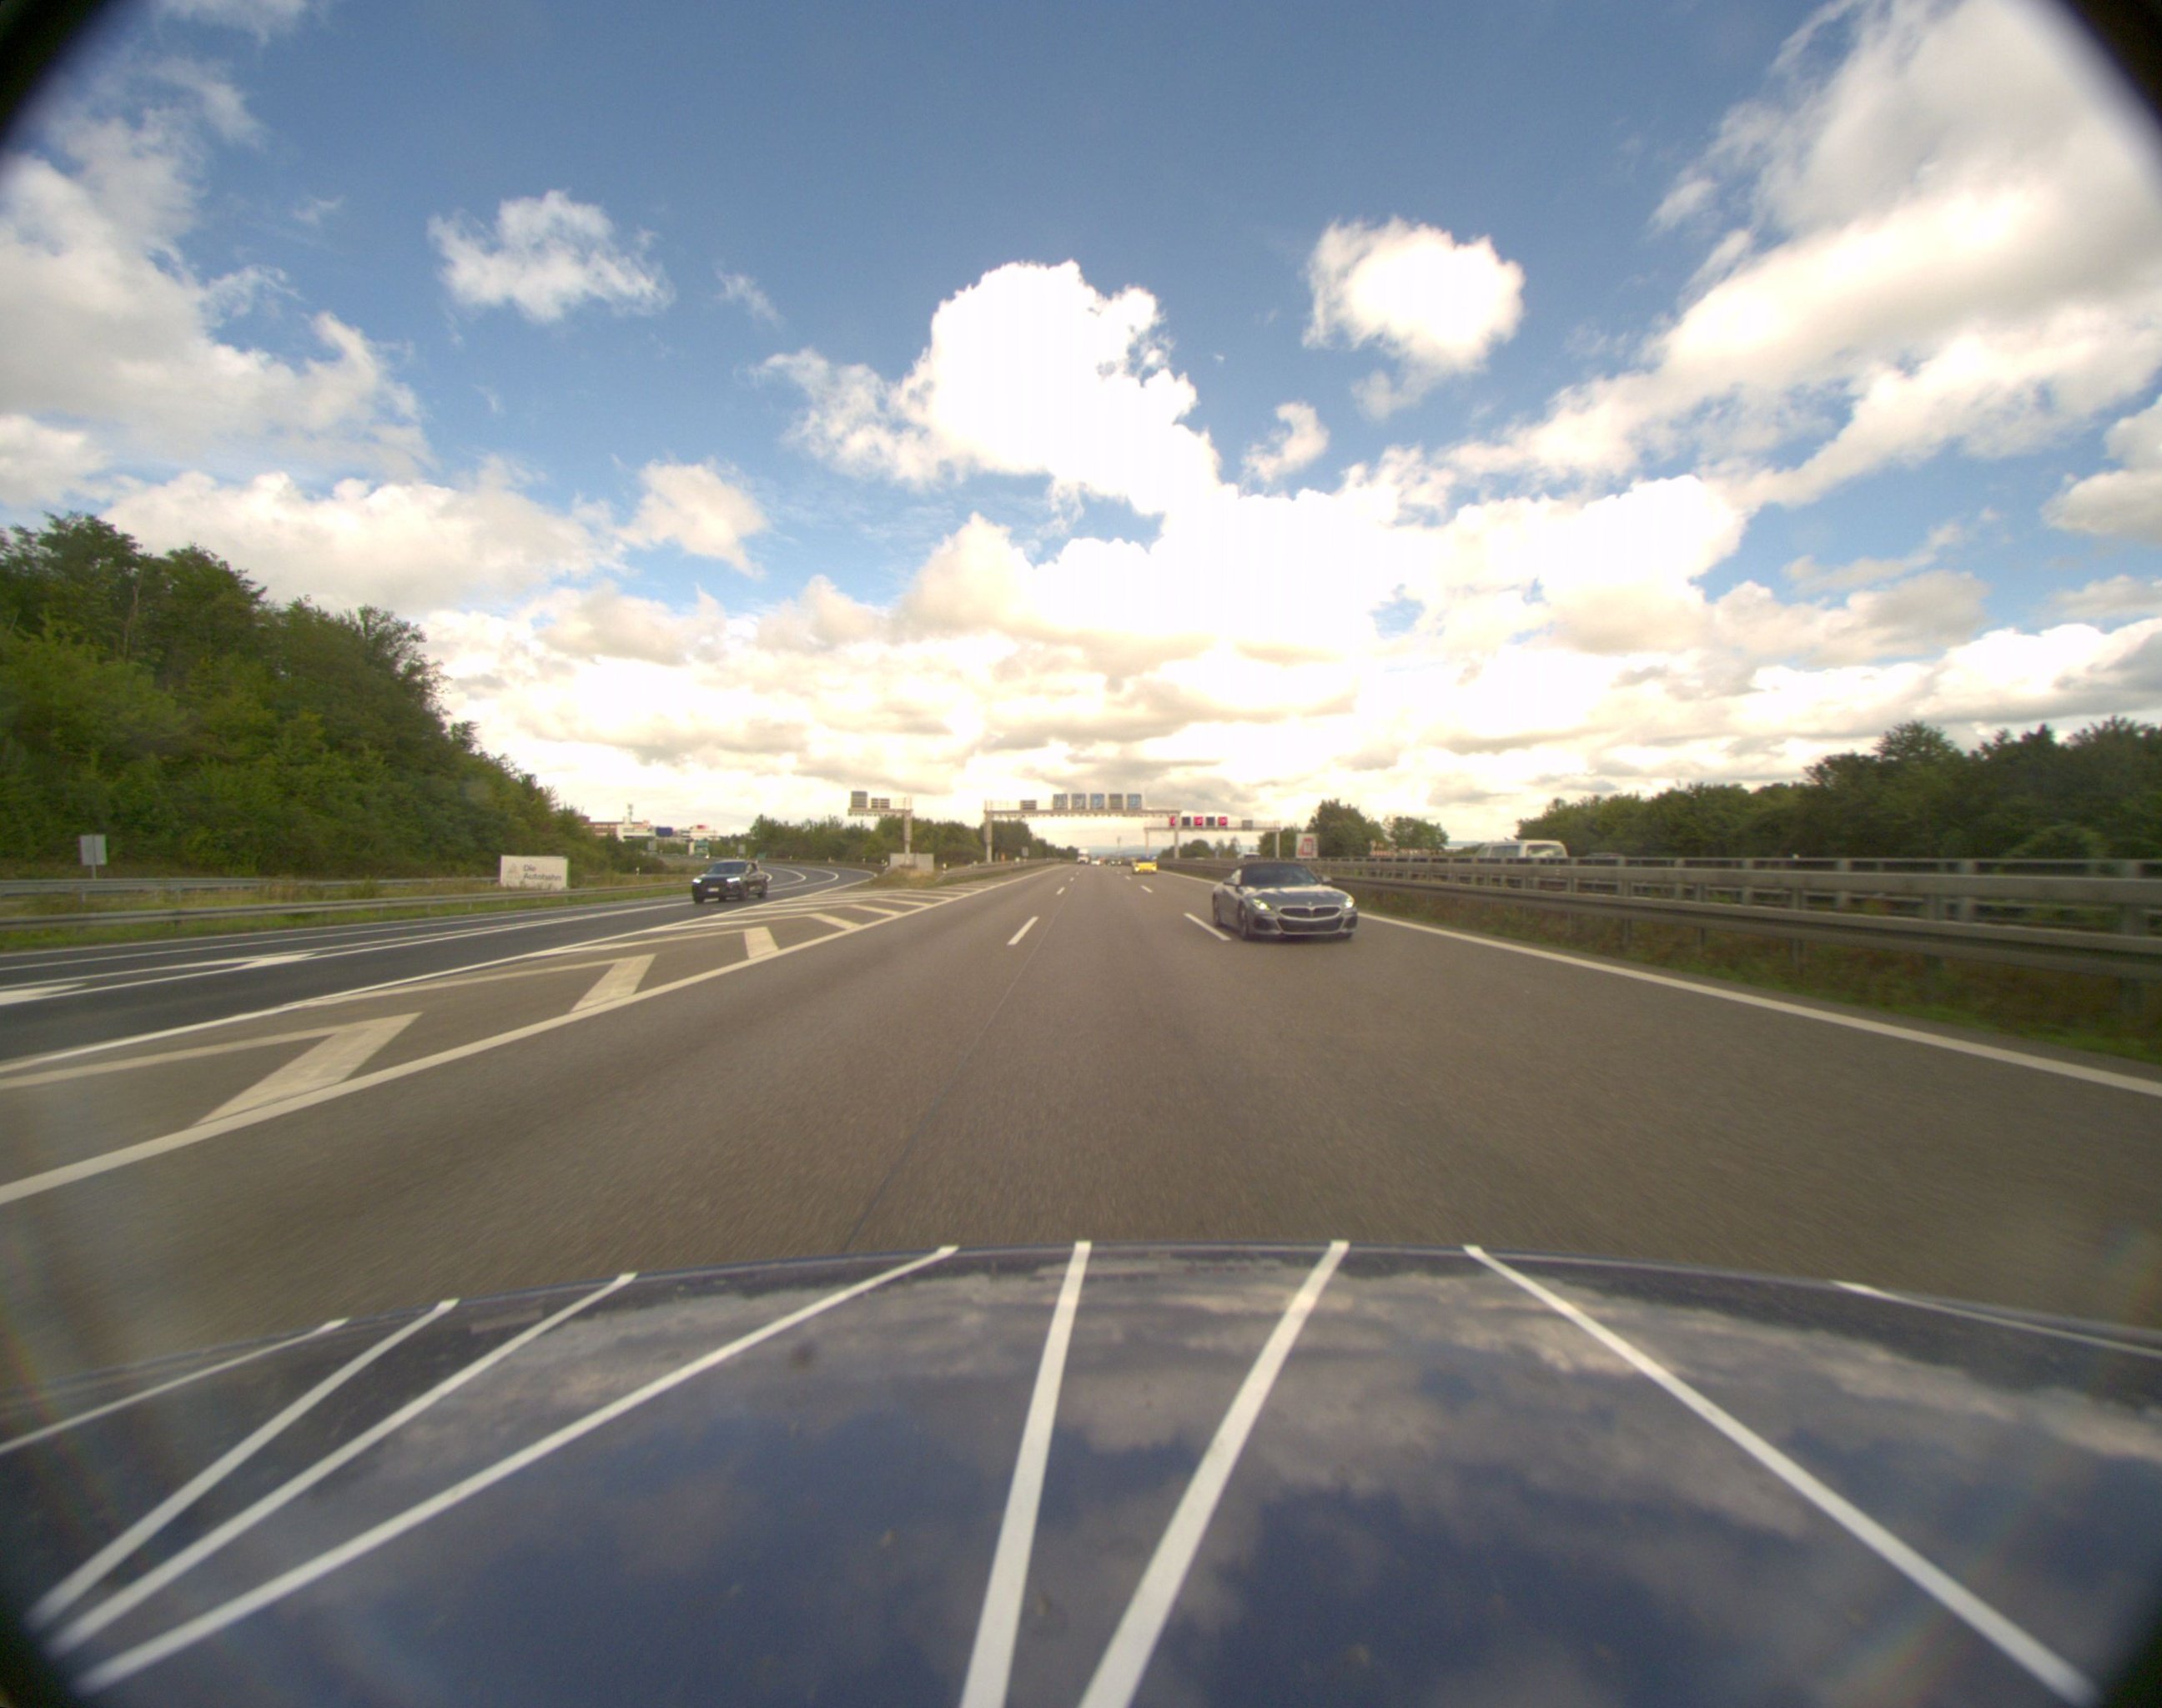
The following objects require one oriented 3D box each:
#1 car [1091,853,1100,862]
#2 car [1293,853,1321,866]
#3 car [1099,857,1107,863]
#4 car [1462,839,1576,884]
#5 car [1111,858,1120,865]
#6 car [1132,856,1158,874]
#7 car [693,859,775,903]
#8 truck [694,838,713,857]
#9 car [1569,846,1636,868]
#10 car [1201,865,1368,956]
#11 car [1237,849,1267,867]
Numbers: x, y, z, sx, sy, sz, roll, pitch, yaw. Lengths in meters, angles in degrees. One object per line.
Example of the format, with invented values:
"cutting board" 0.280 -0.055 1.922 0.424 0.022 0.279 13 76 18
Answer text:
"car" 2.748 0.631 143.875 1.736 1.608 4.000 -1 0 1
"car" 22.358 0.503 75.273 1.528 1.212 3.875 -1 0 0
"car" 6.150 1.770 209.756 1.999 1.619 4.429 0 0 0
"car" 17.354 0.253 30.433 1.814 1.626 5.008 -1 0 2
"car" 7.114 1.490 156.756 1.593 1.307 3.978 1 0 0
"car" 5.150 0.852 61.588 1.811 1.307 4.247 1 0 0
"car" -14.467 1.075 31.954 1.877 1.626 4.855 -1 0 -9
"truck" -79.027 -1.320 158.915 2.974 3.775 13.431 -2 0 -29
"car" 39.354 0.215 57.481 1.814 1.626 5.009 -1 0 2
"car" 3.595 0.928 14.451 1.878 1.295 4.942 -1 0 1
"car" 14.656 0.352 65.283 1.739 1.471 4.201 -1 0 2
